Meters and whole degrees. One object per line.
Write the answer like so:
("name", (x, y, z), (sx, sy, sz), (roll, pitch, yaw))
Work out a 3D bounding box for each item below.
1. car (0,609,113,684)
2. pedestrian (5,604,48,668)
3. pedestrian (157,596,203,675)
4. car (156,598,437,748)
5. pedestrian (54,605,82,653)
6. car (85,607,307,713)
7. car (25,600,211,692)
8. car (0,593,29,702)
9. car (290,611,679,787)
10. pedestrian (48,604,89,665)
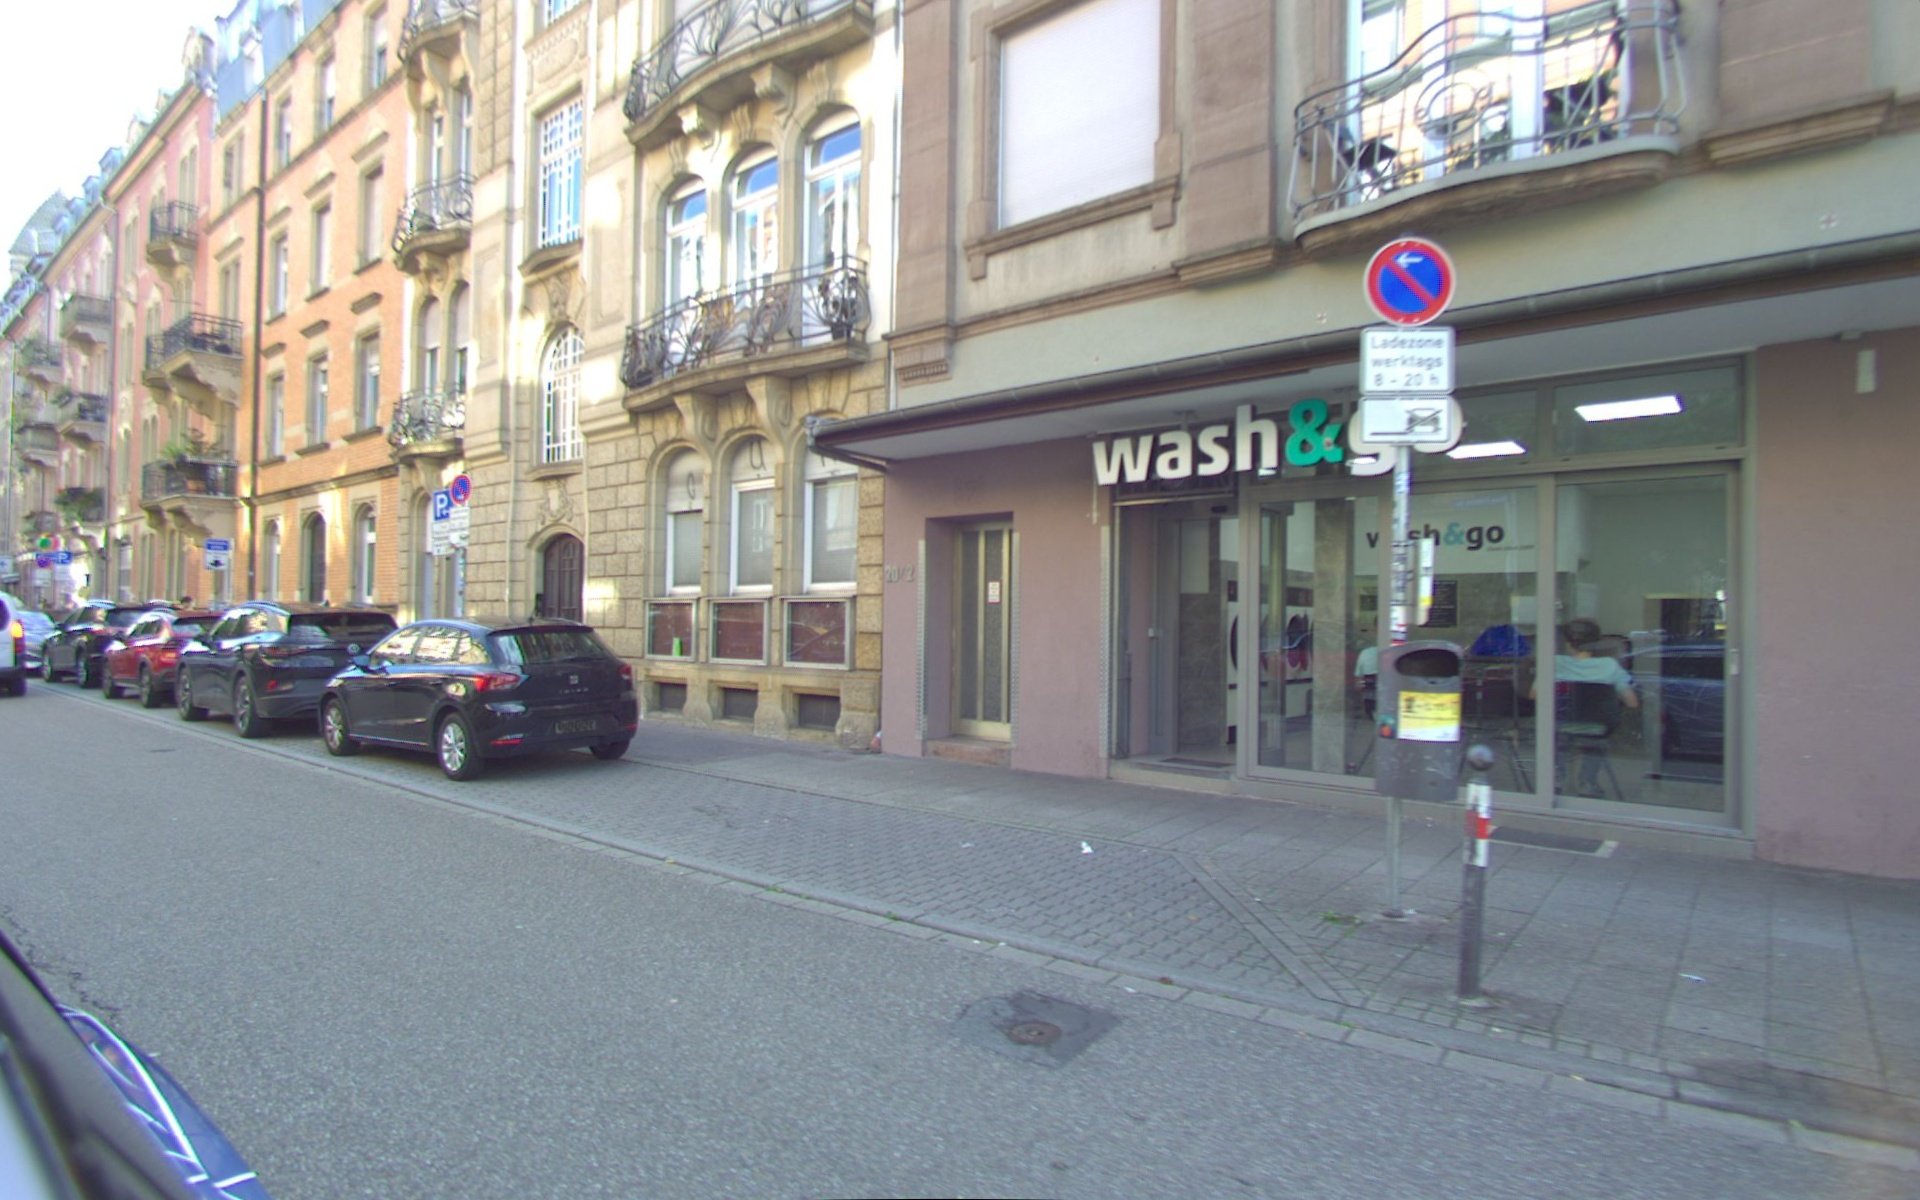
("car", (-21.959, 1.019, 23.921), (5.254, 1.590, 1.808), (-1, -1, 37))
("pedestrian", (-25.409, 0.985, 27.557), (0.659, 1.722, 0.565), (0, -1, 5))
("pedestrian", (-18.327, 0.825, 23.783), (0.863, 1.822, 0.748), (-1, -1, 43))
("car", (-8.855, 0.830, 13.323), (4.844, 1.641, 1.772), (0, -2, 40))
("pedestrian", (-31.936, 1.029, 36.235), (0.763, 1.709, 0.657), (-1, -1, 40))
("car", (-12.902, 0.917, 17.007), (4.422, 1.556, 1.974), (0, -2, 39))
("car", (-17.287, 0.894, 20.702), (4.885, 1.693, 1.856), (-1, -1, 37))
("car", (-18.230, 0.818, 18.115), (4.437, 1.842, 1.897), (-1, -1, 42))
("car", (-4.977, 0.858, 10.367), (4.240, 1.431, 1.974), (-1, -2, 39))
("pedestrian", (-24.751, 0.946, 28.097), (0.545, 1.674, 0.679), (-1, -1, 10))
